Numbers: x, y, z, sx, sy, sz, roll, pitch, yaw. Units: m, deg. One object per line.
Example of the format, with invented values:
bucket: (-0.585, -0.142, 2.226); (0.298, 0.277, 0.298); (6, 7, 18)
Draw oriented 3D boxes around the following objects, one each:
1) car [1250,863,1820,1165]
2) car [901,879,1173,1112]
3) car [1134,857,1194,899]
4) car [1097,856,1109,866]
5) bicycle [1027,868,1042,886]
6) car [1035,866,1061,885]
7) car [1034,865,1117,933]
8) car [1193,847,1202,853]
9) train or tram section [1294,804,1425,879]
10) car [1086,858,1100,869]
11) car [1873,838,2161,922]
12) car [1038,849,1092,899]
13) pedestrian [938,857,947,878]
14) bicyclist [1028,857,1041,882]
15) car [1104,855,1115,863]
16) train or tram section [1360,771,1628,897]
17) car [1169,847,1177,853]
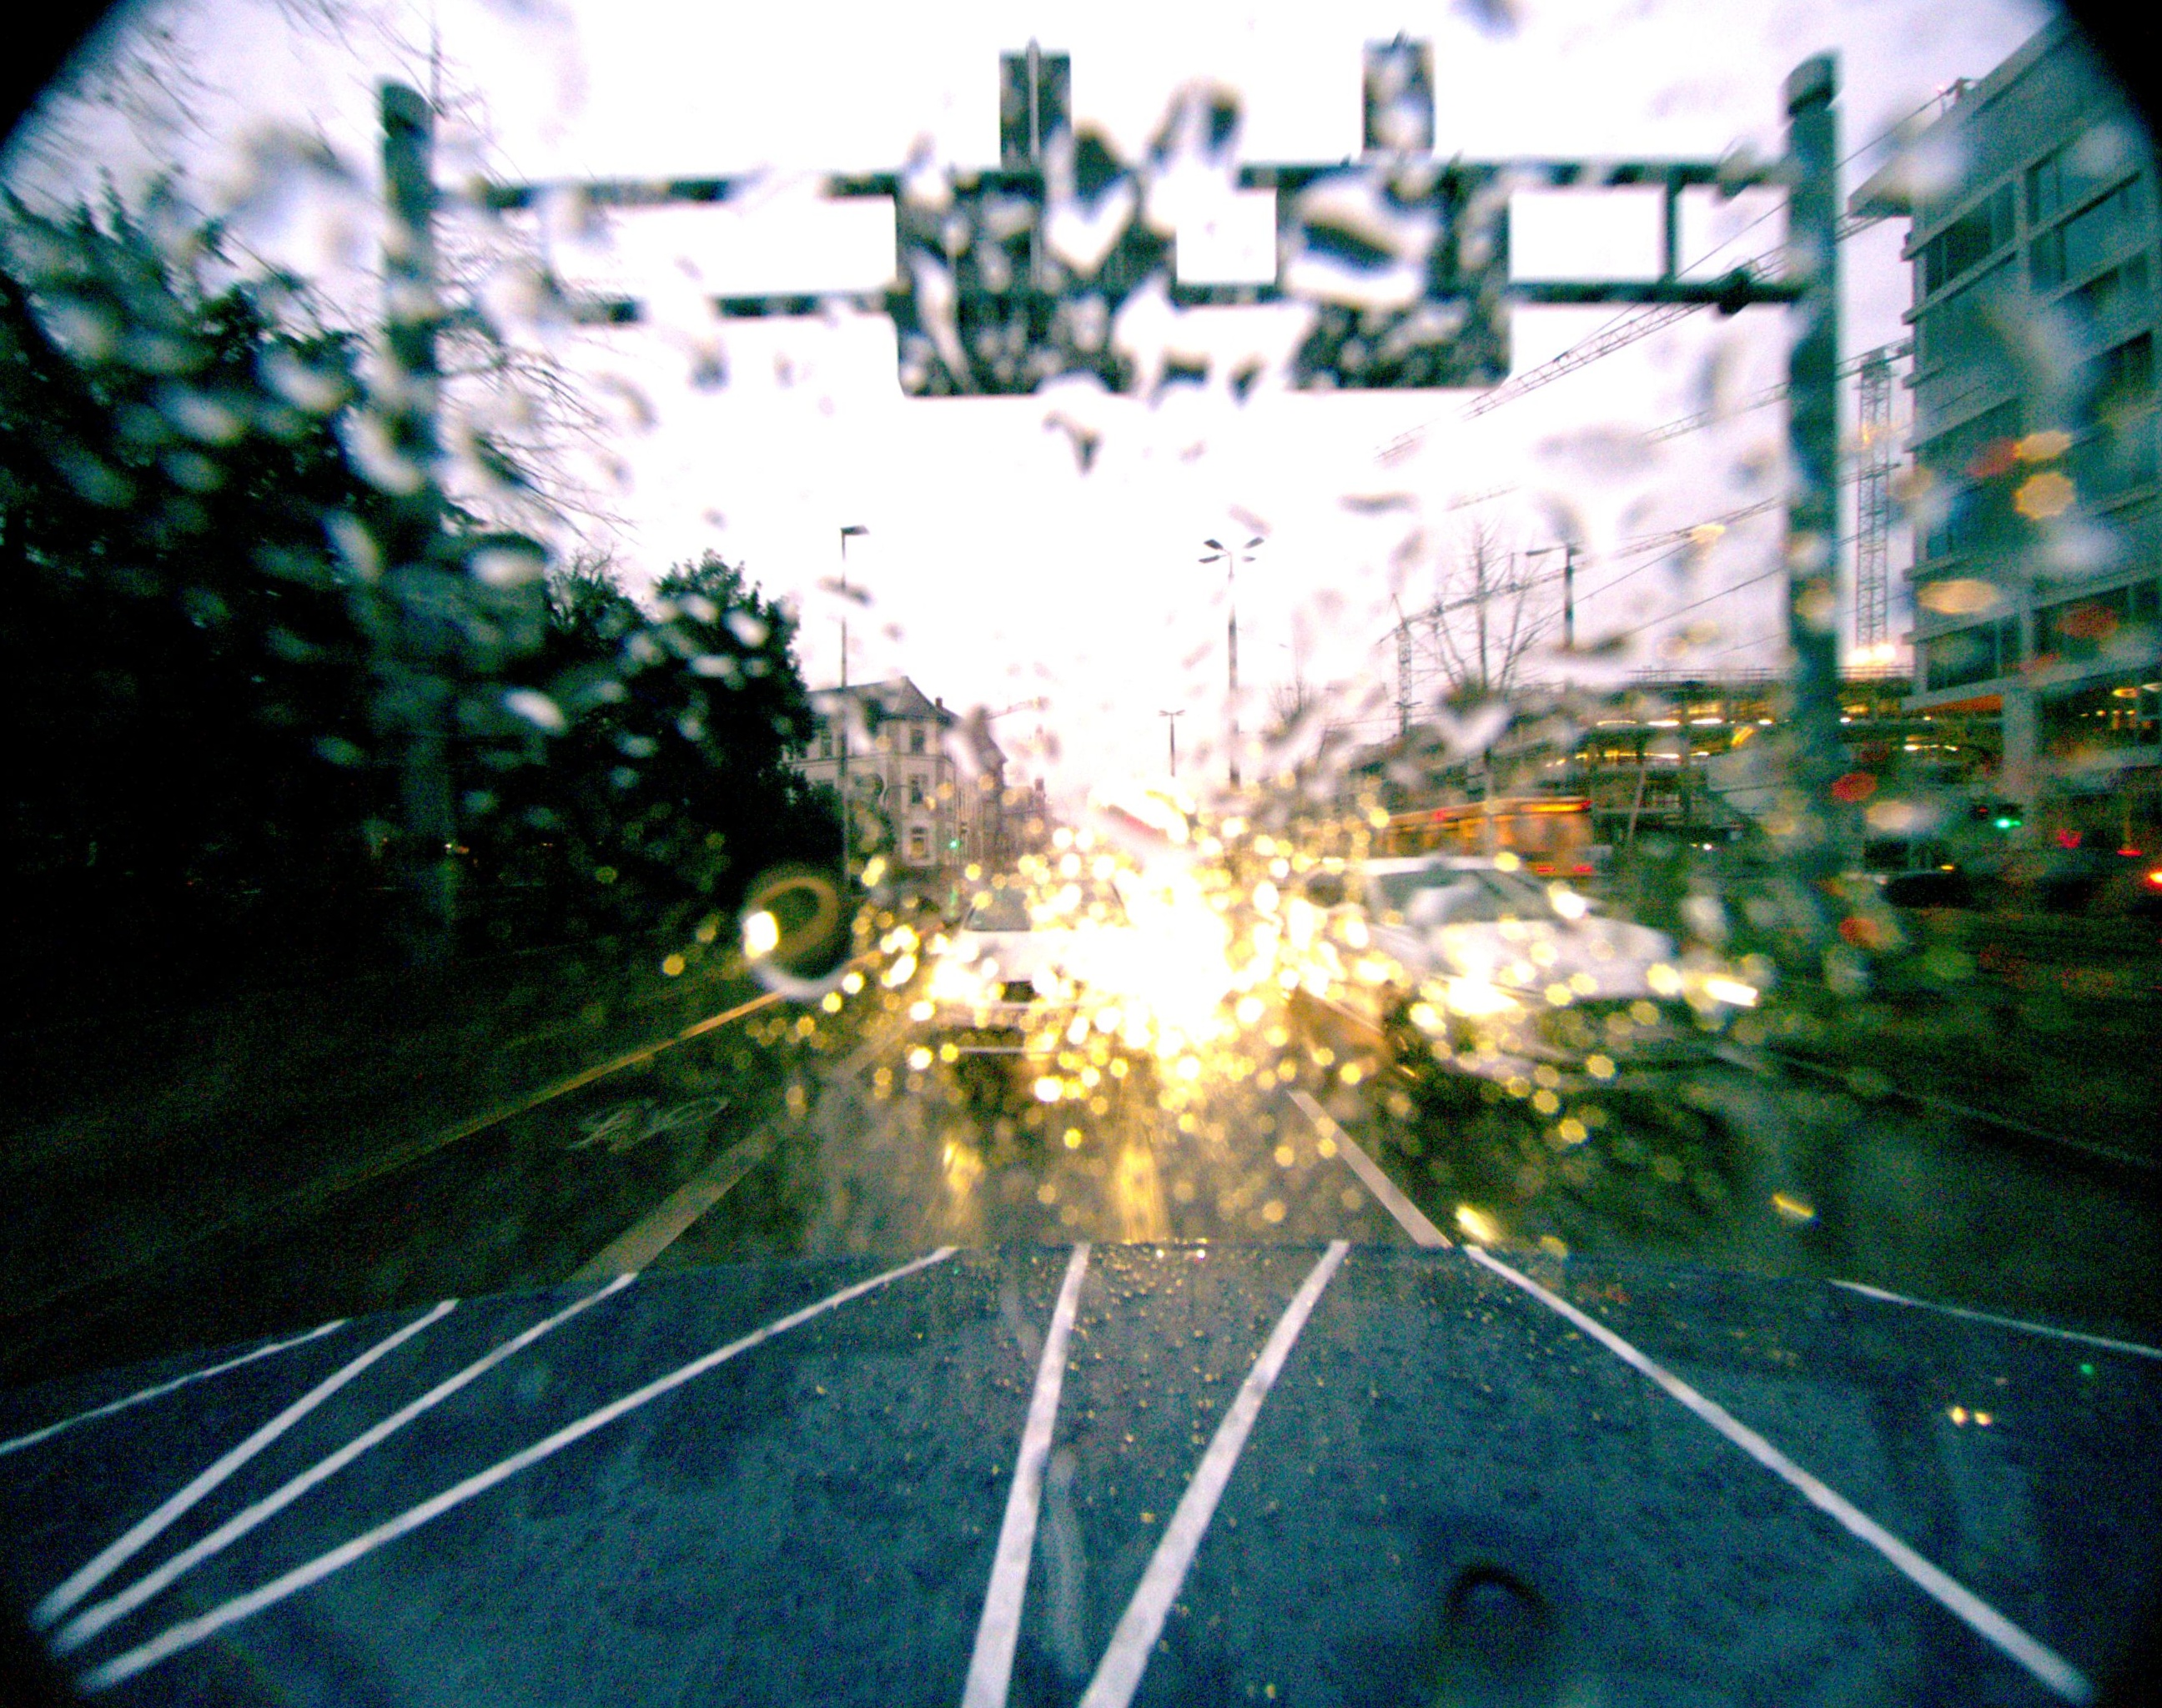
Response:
car: (2.866, 0.855, 6.232); (1.851, 1.397, 4.613); (-2, 0, -1)
car: (-0.299, 1.030, 7.175); (1.798, 1.363, 3.981); (-2, 0, 0)
car: (3.036, 0.839, 28.597); (1.767, 1.363, 3.981); (-2, 0, 0)
car: (3.322, 1.109, 115.228); (1.767, 1.363, 3.981); (-2, 0, 0)
bicycle: (-2.702, 1.346, 44.242); (0.647, 0.961, 2.046); (-1, 0, 2)
car: (-2.630, 1.694, 61.647); (1.875, 1.403, 4.000); (-1, 0, 1)
car: (-0.120, 0.989, 18.291); (1.728, 1.318, 3.981); (-2, 0, 0)
car: (33.399, -1.109, 217.468); (1.998, 1.812, 4.000); (-1, 0, 1)
train or tram section: (15.024, -0.568, 42.696); (2.963, 3.466, 14.322); (-1, 0, 4)
car: (1.610, 1.266, 102.607); (1.767, 1.363, 3.982); (-2, 0, 3)
car: (19.935, 0.440, 15.697); (1.998, 1.459, 5.034); (-1, 0, 1)
car: (-0.559, 0.687, 28.203); (1.781, 1.666, 3.981); (-2, 0, 0)
pedestrian: (-9.926, 0.975, 54.539); (0.521, 1.501, 0.588); (-1, 0, -3)
bicyclist: (-2.705, 0.891, 44.217); (0.647, 1.381, 0.890); (-1, 0, 2)
car: (5.065, 0.907, 134.497); (1.767, 1.363, 3.981); (-2, 0, 2)
train or tram section: (14.149, -0.555, 28.385); (2.964, 3.466, 14.269); (-1, 0, 3)
car: (29.652, -1.210, 244.739); (1.998, 2.002, 4.000); (-1, 0, 1)
